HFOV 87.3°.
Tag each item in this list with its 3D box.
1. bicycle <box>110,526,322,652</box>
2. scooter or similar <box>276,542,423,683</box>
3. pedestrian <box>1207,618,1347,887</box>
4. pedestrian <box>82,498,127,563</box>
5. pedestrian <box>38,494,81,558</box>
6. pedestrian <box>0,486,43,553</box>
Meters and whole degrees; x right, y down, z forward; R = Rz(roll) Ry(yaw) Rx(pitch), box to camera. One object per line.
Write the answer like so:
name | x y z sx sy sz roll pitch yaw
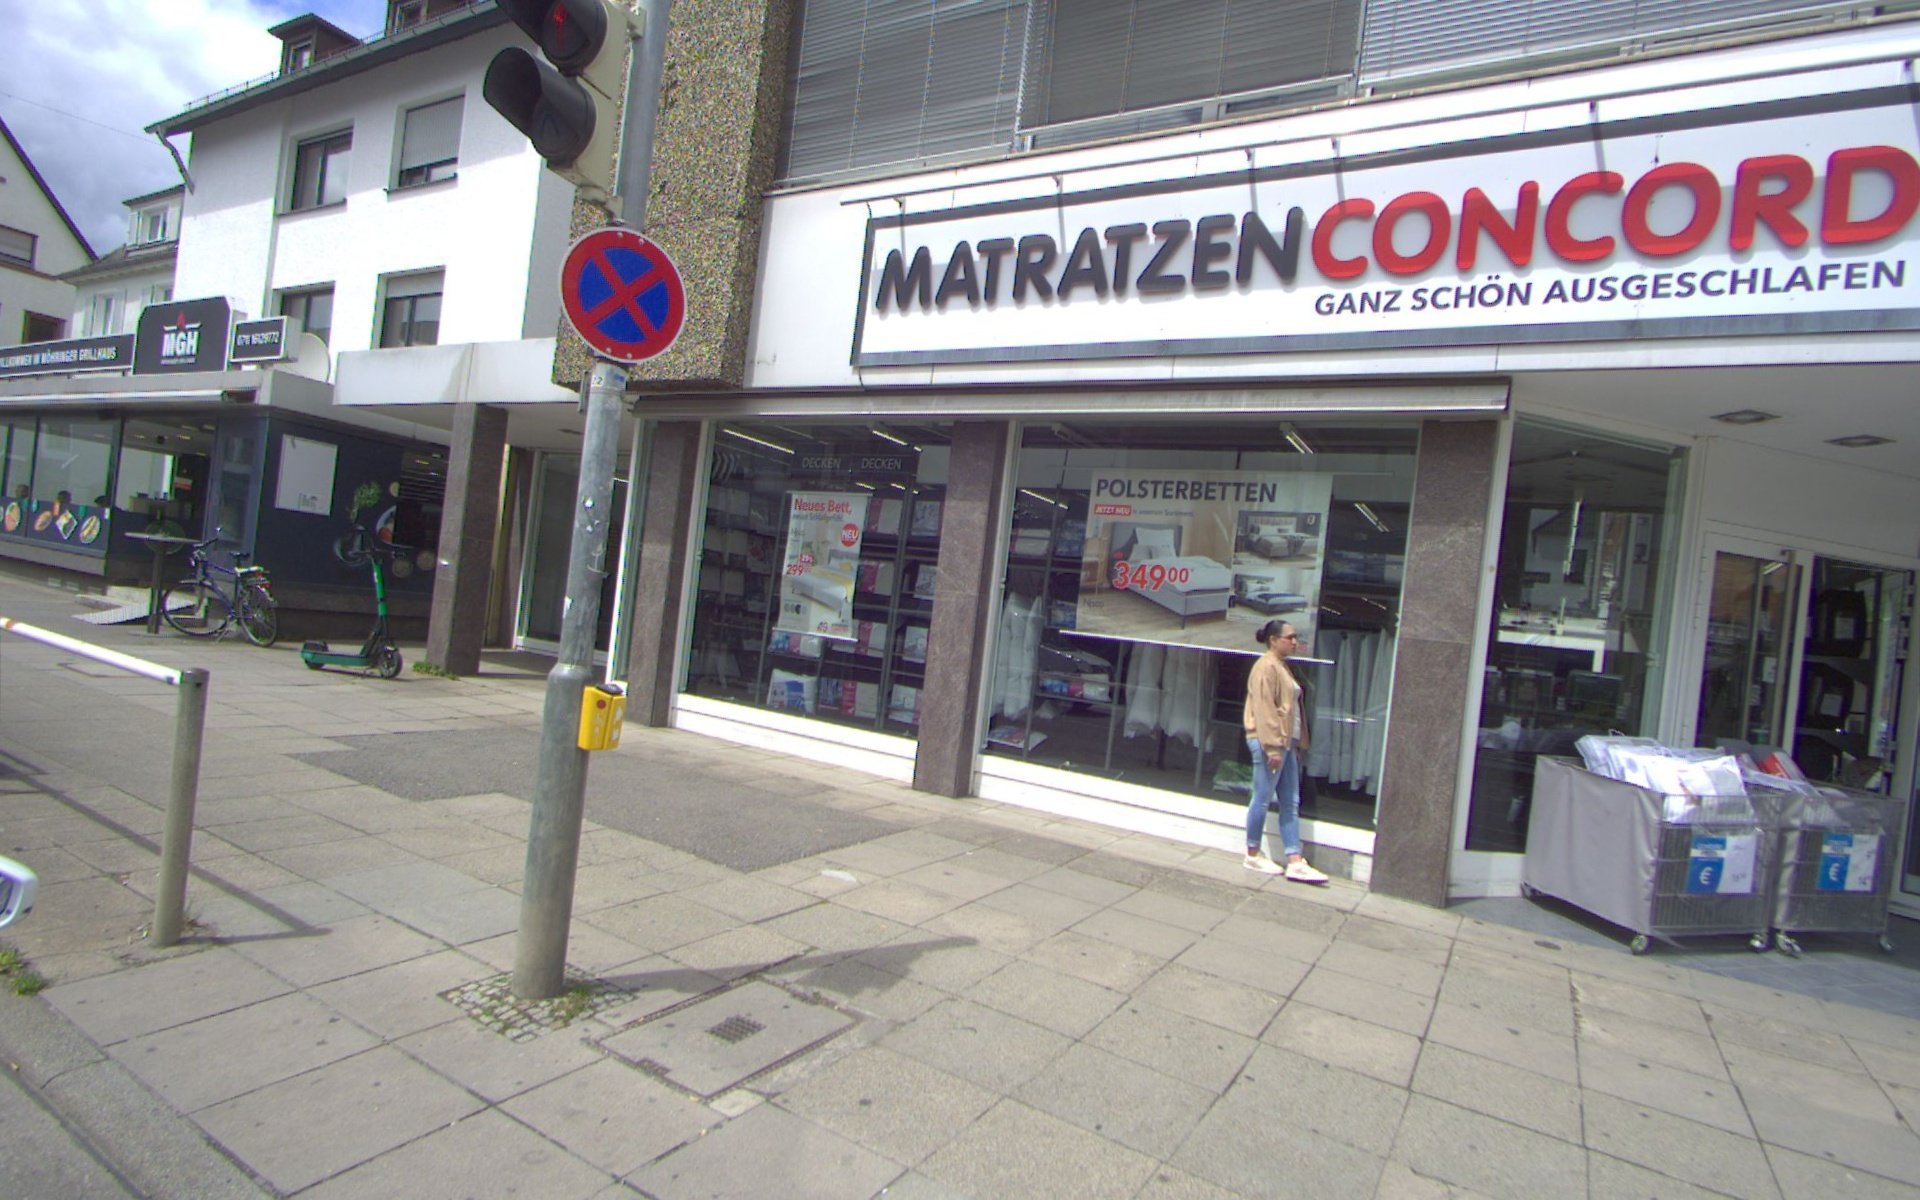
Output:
bicycle | -8.557 -0.132 11.565 2.256 1.159 0.556 7 1 13
scooter or similar | -6.089 0.115 10.049 1.222 1.270 0.341 6 2 5
pedestrian | 1.890 0.877 6.004 0.493 1.479 0.502 7 3 44
pedestrian | -14.824 -1.198 17.430 0.361 1.065 0.415 7 1 30
pedestrian | -16.057 -1.322 17.938 0.361 1.065 0.415 7 1 30
pedestrian | -16.011 -1.368 17.127 0.361 1.065 0.415 7 1 30
